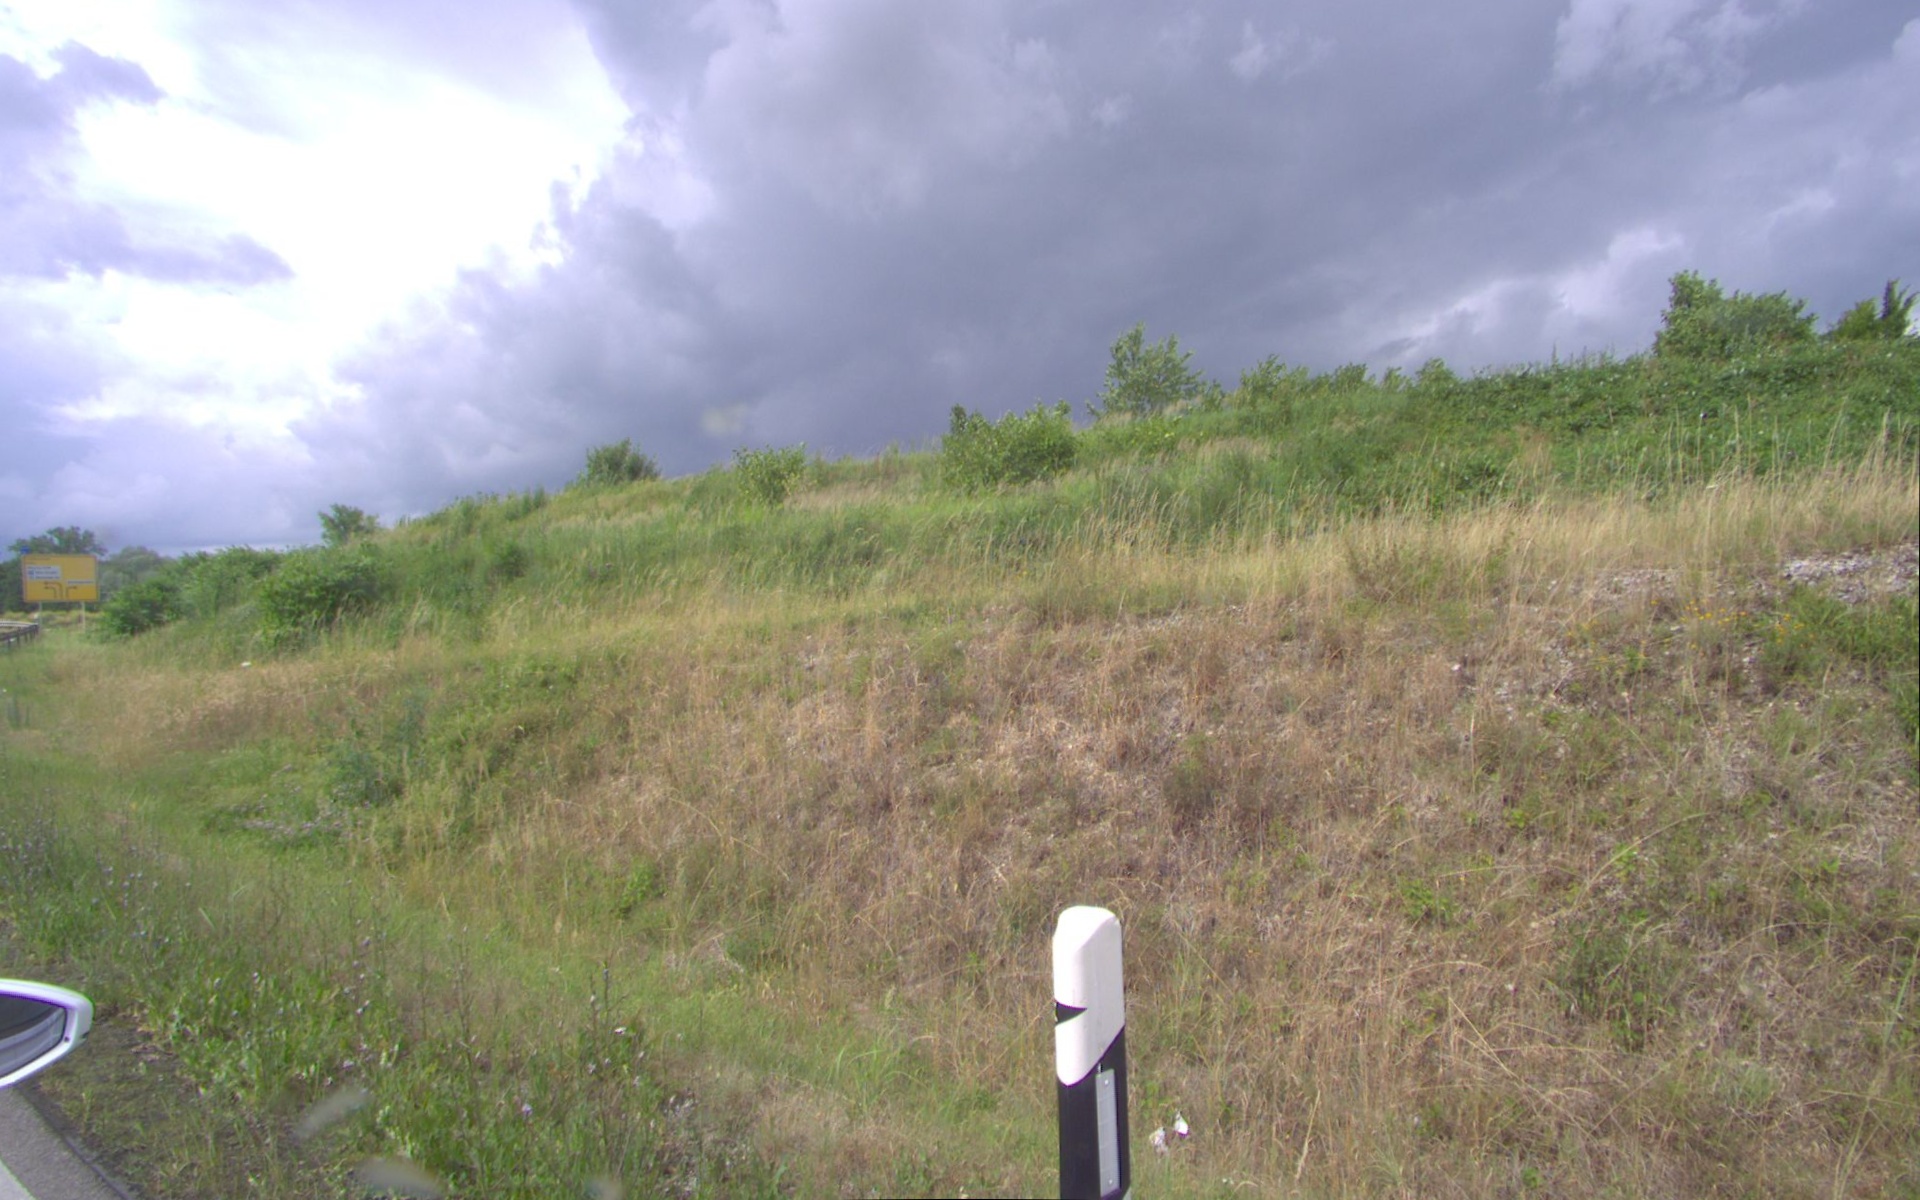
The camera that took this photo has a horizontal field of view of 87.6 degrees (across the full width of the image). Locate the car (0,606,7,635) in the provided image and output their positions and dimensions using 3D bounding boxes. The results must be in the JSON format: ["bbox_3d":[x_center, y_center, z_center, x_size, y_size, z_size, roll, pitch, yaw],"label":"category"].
[{"bbox_3d":[-65.308,1.400,66.978,4.448,1.906,2.083,-2,-2,44],"label":"car"}]
